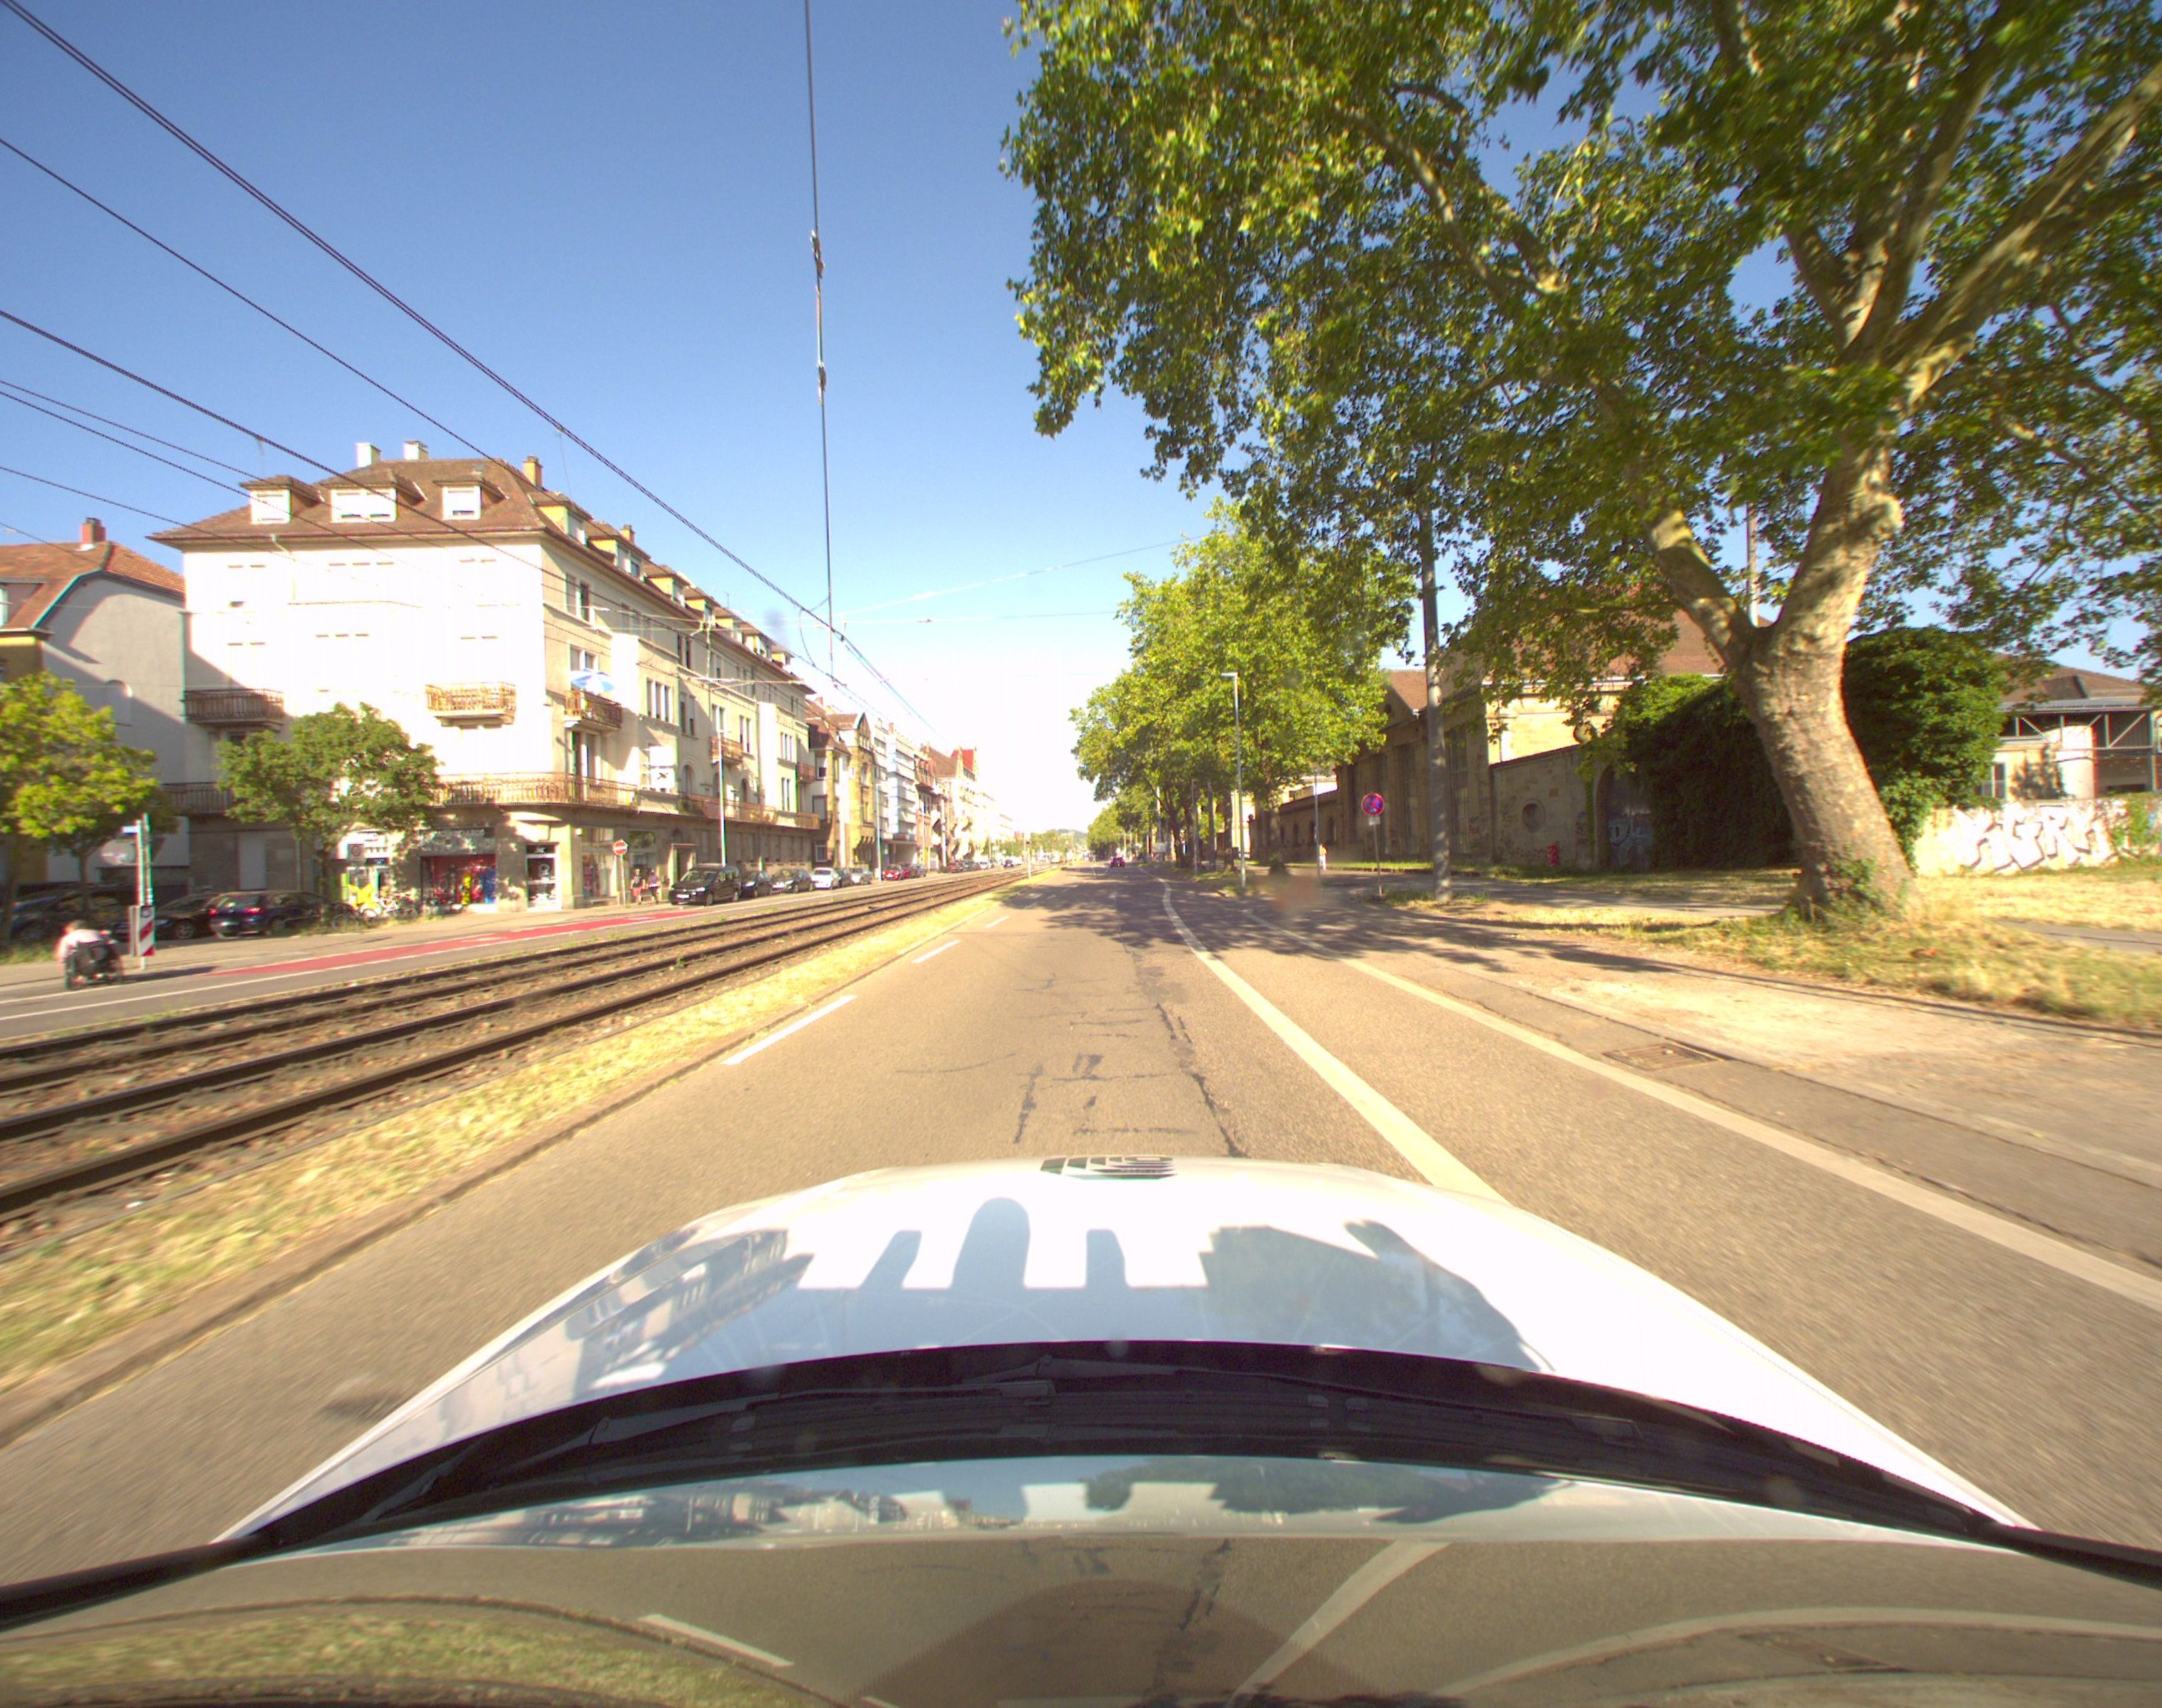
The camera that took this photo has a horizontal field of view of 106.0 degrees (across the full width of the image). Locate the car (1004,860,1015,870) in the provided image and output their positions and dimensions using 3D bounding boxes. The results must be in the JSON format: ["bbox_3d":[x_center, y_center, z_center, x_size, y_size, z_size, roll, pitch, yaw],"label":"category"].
[{"bbox_3d":[-13.170,2.014,150.108,1.631,1.601,4.156,-3,0,-1],"label":"car"}]

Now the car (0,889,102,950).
[{"bbox_3d":[-38.398,2.347,28.634,2.053,2.041,4.892,-2,-2,-2],"label":"car"}]

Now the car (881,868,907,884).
[{"bbox_3d":[-17.589,2.041,76.752,1.830,1.391,4.029,1,-1,-4],"label":"car"}]

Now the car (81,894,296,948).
[{"bbox_3d":[-30.712,2.252,28.312,2.052,1.510,4.895,-3,-2,0],"label":"car"}]

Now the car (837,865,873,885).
[{"bbox_3d":[-17.834,1.624,64.533,1.629,1.469,4.160,-1,0,1],"label":"car"}]

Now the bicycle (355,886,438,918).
[{"bbox_3d":[-27.610,1.938,32.867,2.866,1.161,0.754,-2,-1,7],"label":"bicycle"}]

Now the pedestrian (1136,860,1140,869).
[{"bbox_3d":[10.437,1.900,149.295,0.584,1.728,0.652,0,0,13],"label":"pedestrian"}]

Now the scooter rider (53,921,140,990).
[{"bbox_3d":[-17.243,1.753,14.270,0.966,1.089,0.813,-3,0,31],"label":"scooter rider"}]

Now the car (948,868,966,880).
[{"bbox_3d":[-17.446,2.769,114.687,1.788,1.510,4.000,1,0,0],"label":"car"}]

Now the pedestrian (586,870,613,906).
[{"bbox_3d":[-22.402,1.580,37.892,0.637,1.661,0.955,0,-1,2],"label":"pedestrian"}]

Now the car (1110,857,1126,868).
[{"bbox_3d":[4.860,1.163,107.781,1.827,1.391,4.158,-1,0,0],"label":"car"}]

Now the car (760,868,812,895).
[{"bbox_3d":[-17.972,1.643,49.805,1.630,1.469,4.158,1,0,0],"label":"car"}]

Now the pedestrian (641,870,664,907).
[{"bbox_3d":[-20.210,1.616,38.454,0.587,1.697,0.858,0,-1,2],"label":"pedestrian"}]

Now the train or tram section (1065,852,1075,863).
[{"bbox_3d":[-3.531,1.056,262.540,2.815,3.451,9.067,-2,0,2],"label":"train or tram section"}]

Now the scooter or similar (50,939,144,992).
[{"bbox_3d":[-17.271,1.933,14.287,1.549,0.770,0.813,-3,0,31],"label":"scooter or similar"}]

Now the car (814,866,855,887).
[{"bbox_3d":[-17.860,1.592,59.118,1.630,1.469,4.158,1,-1,0],"label":"car"}]

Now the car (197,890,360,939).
[{"bbox_3d":[-27.859,2.040,28.493,1.771,1.464,4.235,0,-1,-7],"label":"car"}]

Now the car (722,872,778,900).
[{"bbox_3d":[-18.147,1.711,44.791,1.622,1.391,3.507,1,0,-1],"label":"car"}]

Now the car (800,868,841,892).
[{"bbox_3d":[-17.481,1.713,54.841,1.631,1.469,3.978,2,0,-3],"label":"car"}]

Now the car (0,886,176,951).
[{"bbox_3d":[-35.250,2.184,28.341,2.053,2.041,4.892,-2,-2,-2],"label":"car"}]

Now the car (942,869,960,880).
[{"bbox_3d":[-17.549,2.756,110.071,1.789,1.460,4.265,1,0,0],"label":"car"}]

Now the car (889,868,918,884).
[{"bbox_3d":[-17.812,2.168,81.933,1.826,1.558,4.354,-1,-1,1],"label":"car"}]

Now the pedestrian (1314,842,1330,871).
[{"bbox_3d":[14.557,0.181,49.127,0.606,1.681,0.635,-6,0,-2],"label":"pedestrian"}]

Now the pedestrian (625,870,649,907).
[{"bbox_3d":[-20.911,1.617,38.376,0.587,1.697,0.858,0,-1,2],"label":"pedestrian"}]

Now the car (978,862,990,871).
[{"bbox_3d":[-17.054,2.141,143.470,1.791,1.510,3.994,1,0,-4],"label":"car"}]

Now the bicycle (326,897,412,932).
[{"bbox_3d":[-23.984,2.016,27.511,0.681,1.016,2.414,0,0,3],"label":"bicycle"}]

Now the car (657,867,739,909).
[{"bbox_3d":[-18.067,1.534,38.649,1.857,1.786,4.400,0,0,0],"label":"car"}]

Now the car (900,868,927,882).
[{"bbox_3d":[-17.916,2.267,87.215,1.827,1.391,4.681,-1,0,0],"label":"car"}]
